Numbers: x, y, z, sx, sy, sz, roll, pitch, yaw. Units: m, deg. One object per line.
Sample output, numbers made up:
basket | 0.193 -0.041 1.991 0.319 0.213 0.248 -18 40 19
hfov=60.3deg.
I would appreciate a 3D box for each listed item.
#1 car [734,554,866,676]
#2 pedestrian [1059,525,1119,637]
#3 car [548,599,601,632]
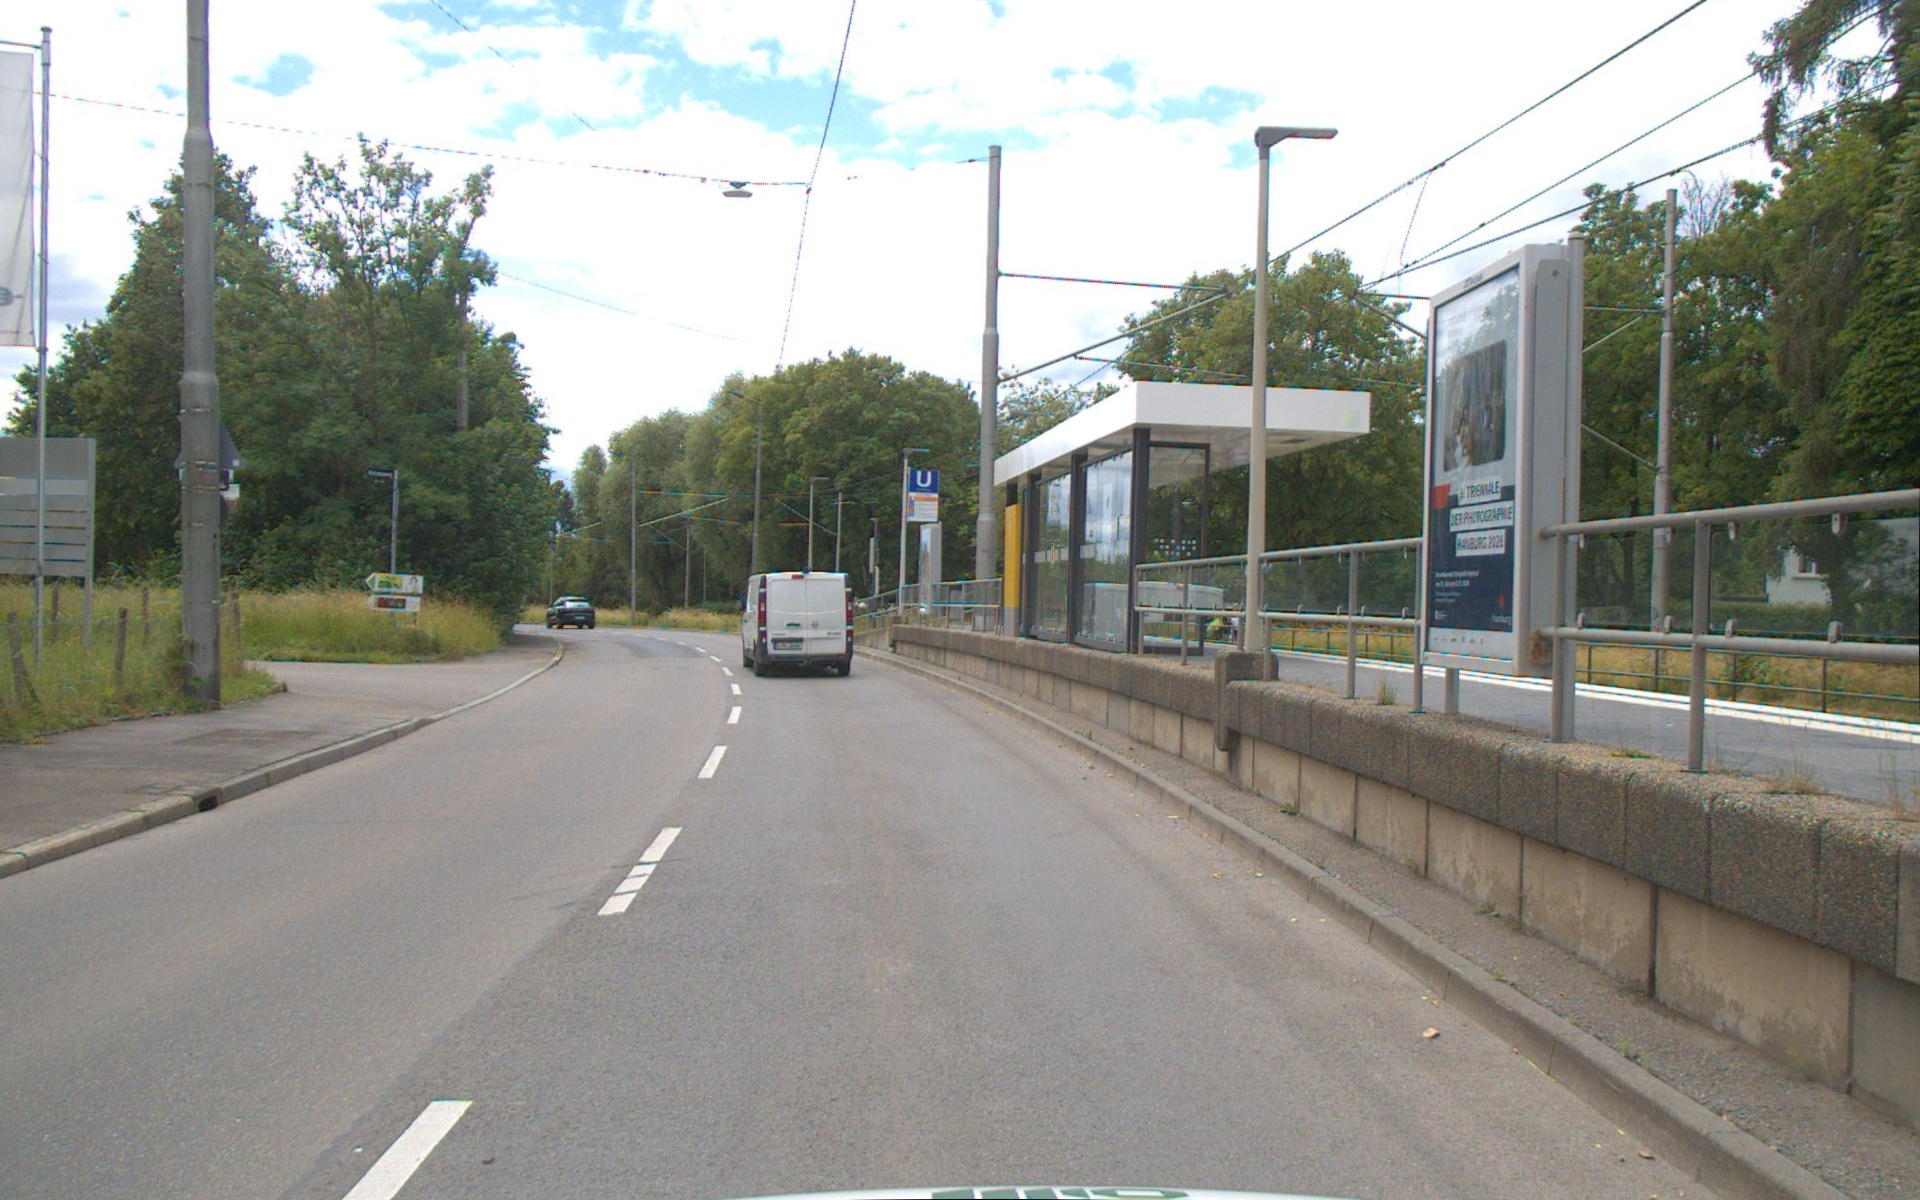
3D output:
car | -3.292 0.280 33.057 2.079 2.171 5.426 2 0 -11
pedestrian | 1.677 -0.257 21.584 0.626 1.429 0.763 0 1 -7
car | -20.226 0.791 86.708 2.319 1.591 4.351 3 0 -18
